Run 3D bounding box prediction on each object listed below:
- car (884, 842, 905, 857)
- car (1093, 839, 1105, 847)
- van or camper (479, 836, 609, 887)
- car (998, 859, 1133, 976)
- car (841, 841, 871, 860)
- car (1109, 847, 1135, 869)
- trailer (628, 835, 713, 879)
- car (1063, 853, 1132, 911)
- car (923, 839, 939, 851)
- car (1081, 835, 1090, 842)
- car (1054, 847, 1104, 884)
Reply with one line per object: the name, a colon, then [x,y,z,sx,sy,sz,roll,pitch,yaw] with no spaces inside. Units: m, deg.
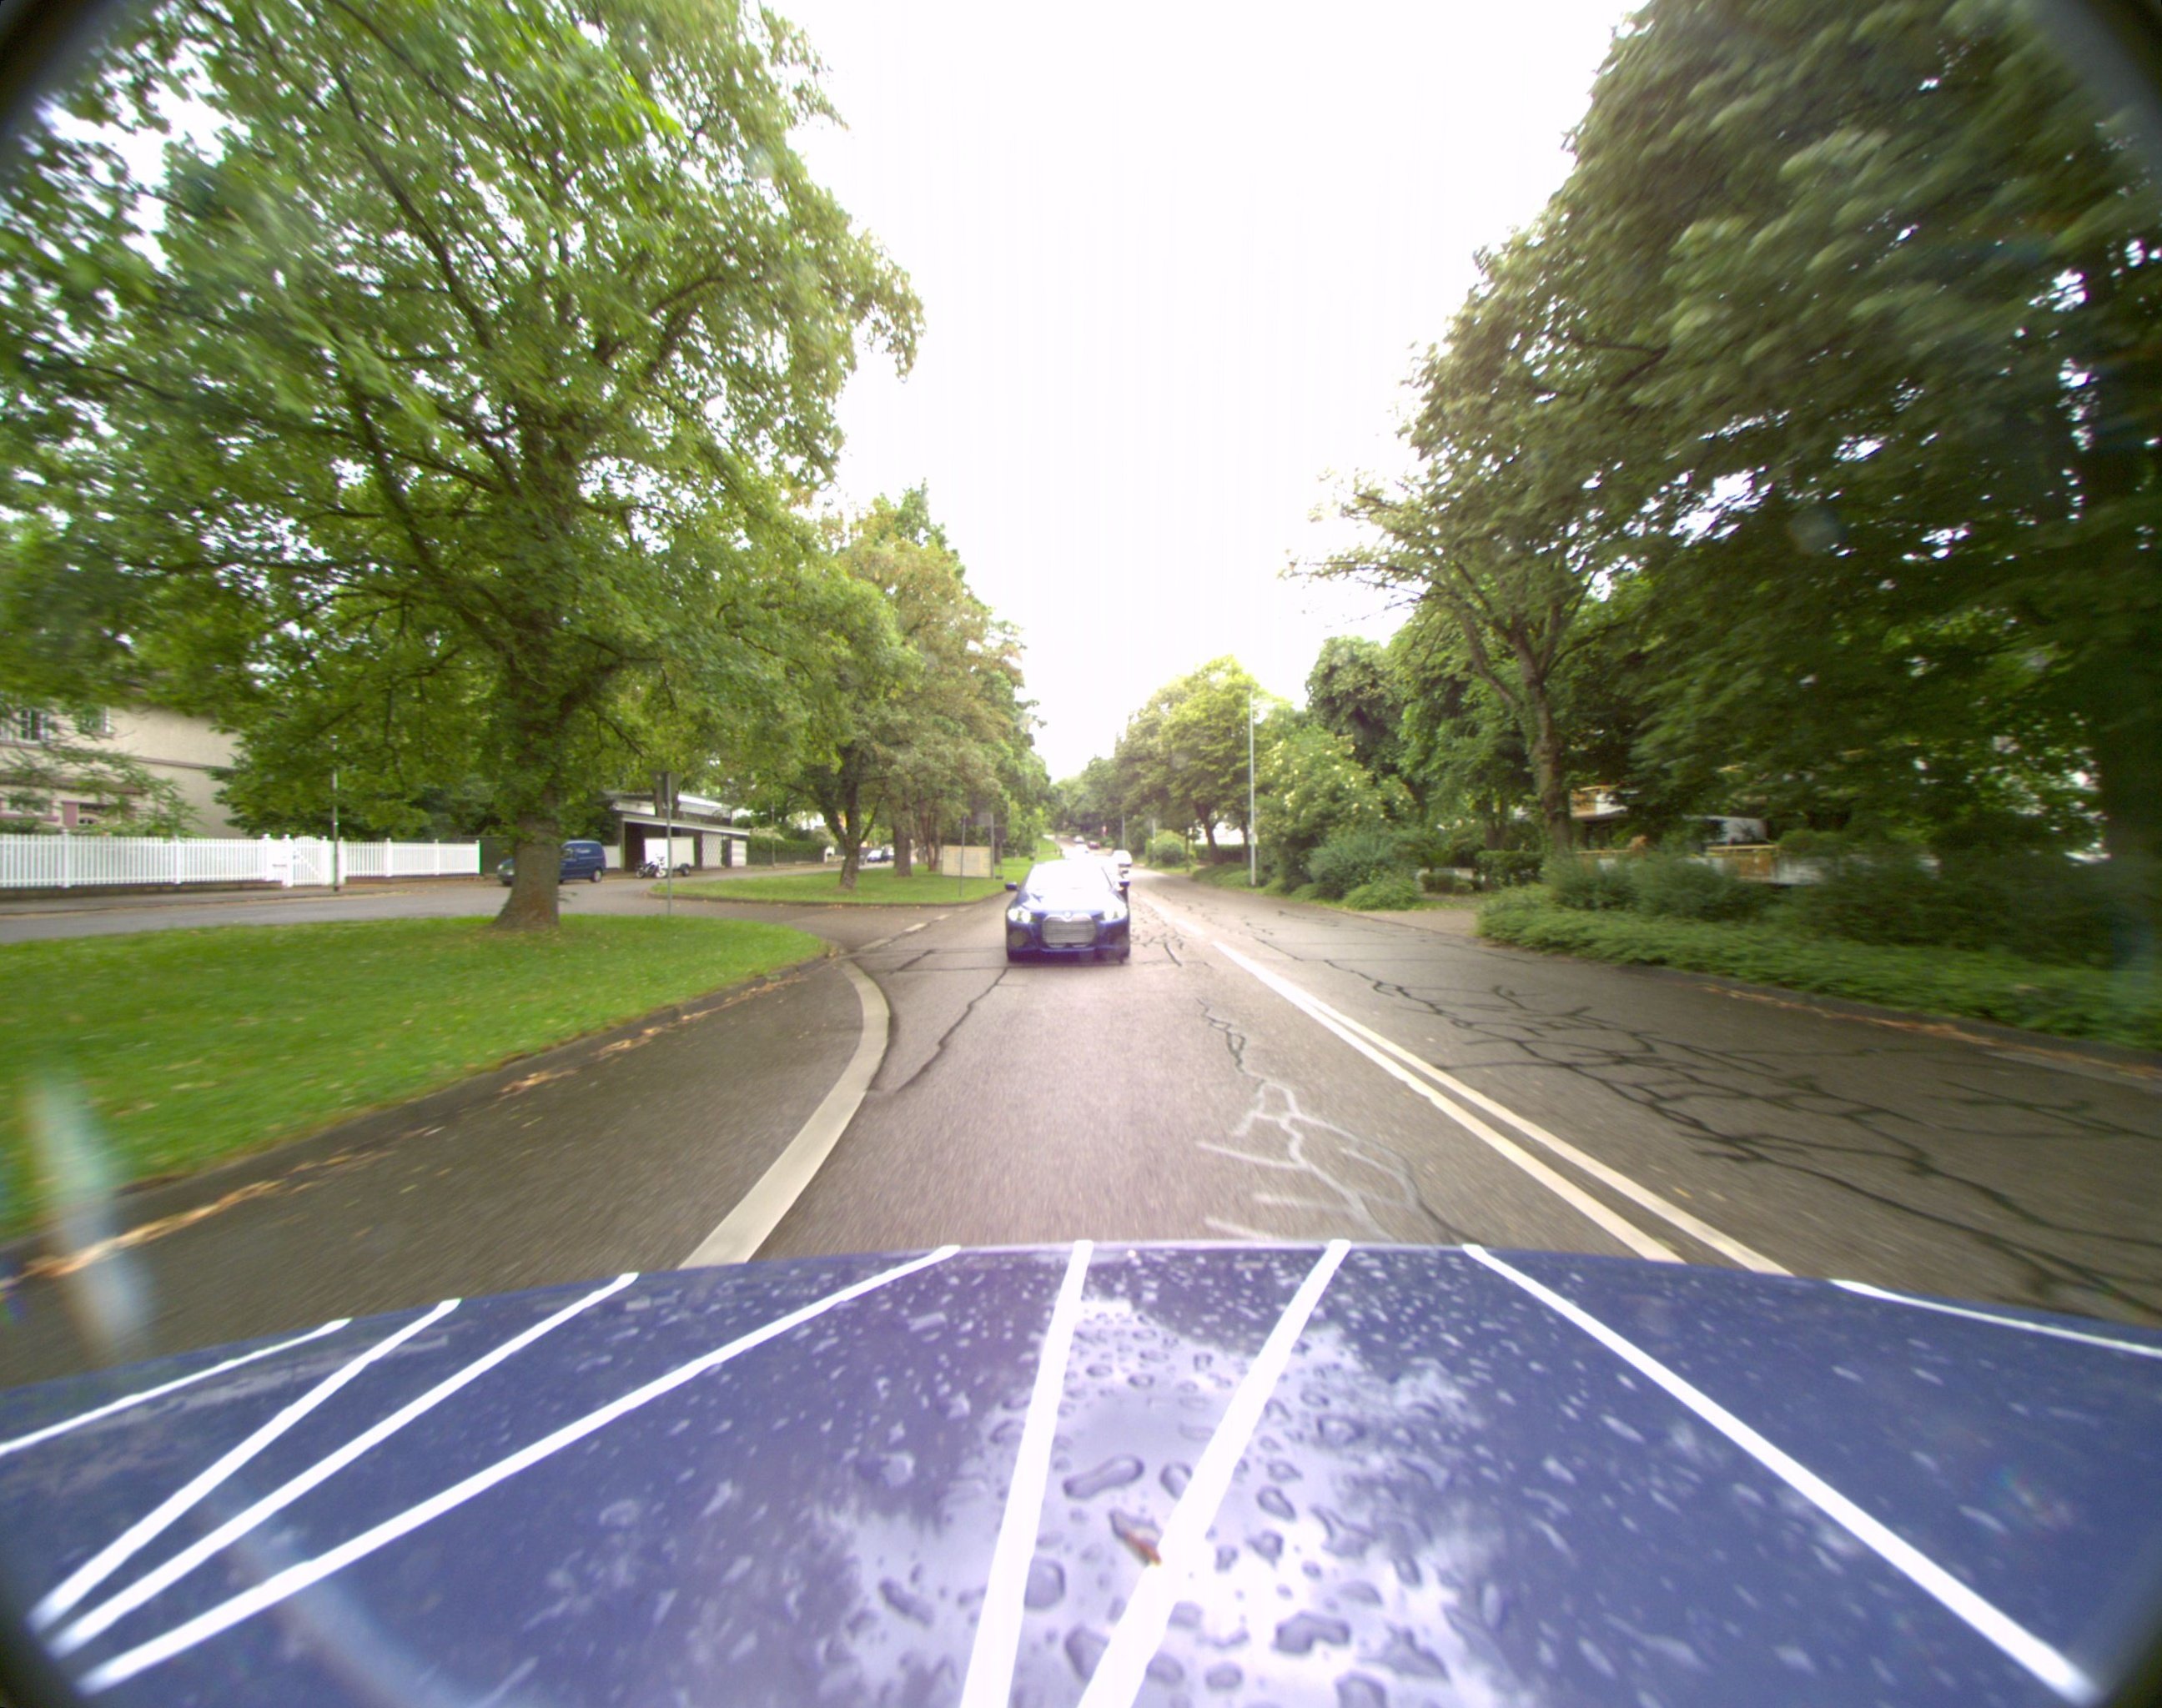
car: [-25.962,-0.615,105.718,1.999,2.001,4.000,0,-1,-2]
car: [3.115,-1.839,130.938,1.769,1.341,4.376,1,1,-2]
van or camper: [-21.213,0.262,30.302,1.999,1.798,4.773,-2,1,-5]
car: [-0.230,0.899,12.567,1.826,1.471,4.066,-2,1,0]
car: [-24.235,-0.427,82.008,1.999,2.002,3.999,0,1,-1]
car: [3.781,0.389,70.427,1.999,2.001,4.573,0,-1,-1]
trailer: [-21.521,0.097,40.135,1.771,2.104,5.191,-2,1,-3]
car: [0.430,0.767,22.721,1.826,1.471,4.066,-2,1,-1]
car: [-25.619,-1.611,130.044,1.999,2.002,3.999,0,1,-2]
car: [0.924,-3.130,156.998,1.825,1.471,4.067,0,1,3]
car: [-0.130,0.456,33.336,2.032,1.471,4.066,-2,1,-2]
